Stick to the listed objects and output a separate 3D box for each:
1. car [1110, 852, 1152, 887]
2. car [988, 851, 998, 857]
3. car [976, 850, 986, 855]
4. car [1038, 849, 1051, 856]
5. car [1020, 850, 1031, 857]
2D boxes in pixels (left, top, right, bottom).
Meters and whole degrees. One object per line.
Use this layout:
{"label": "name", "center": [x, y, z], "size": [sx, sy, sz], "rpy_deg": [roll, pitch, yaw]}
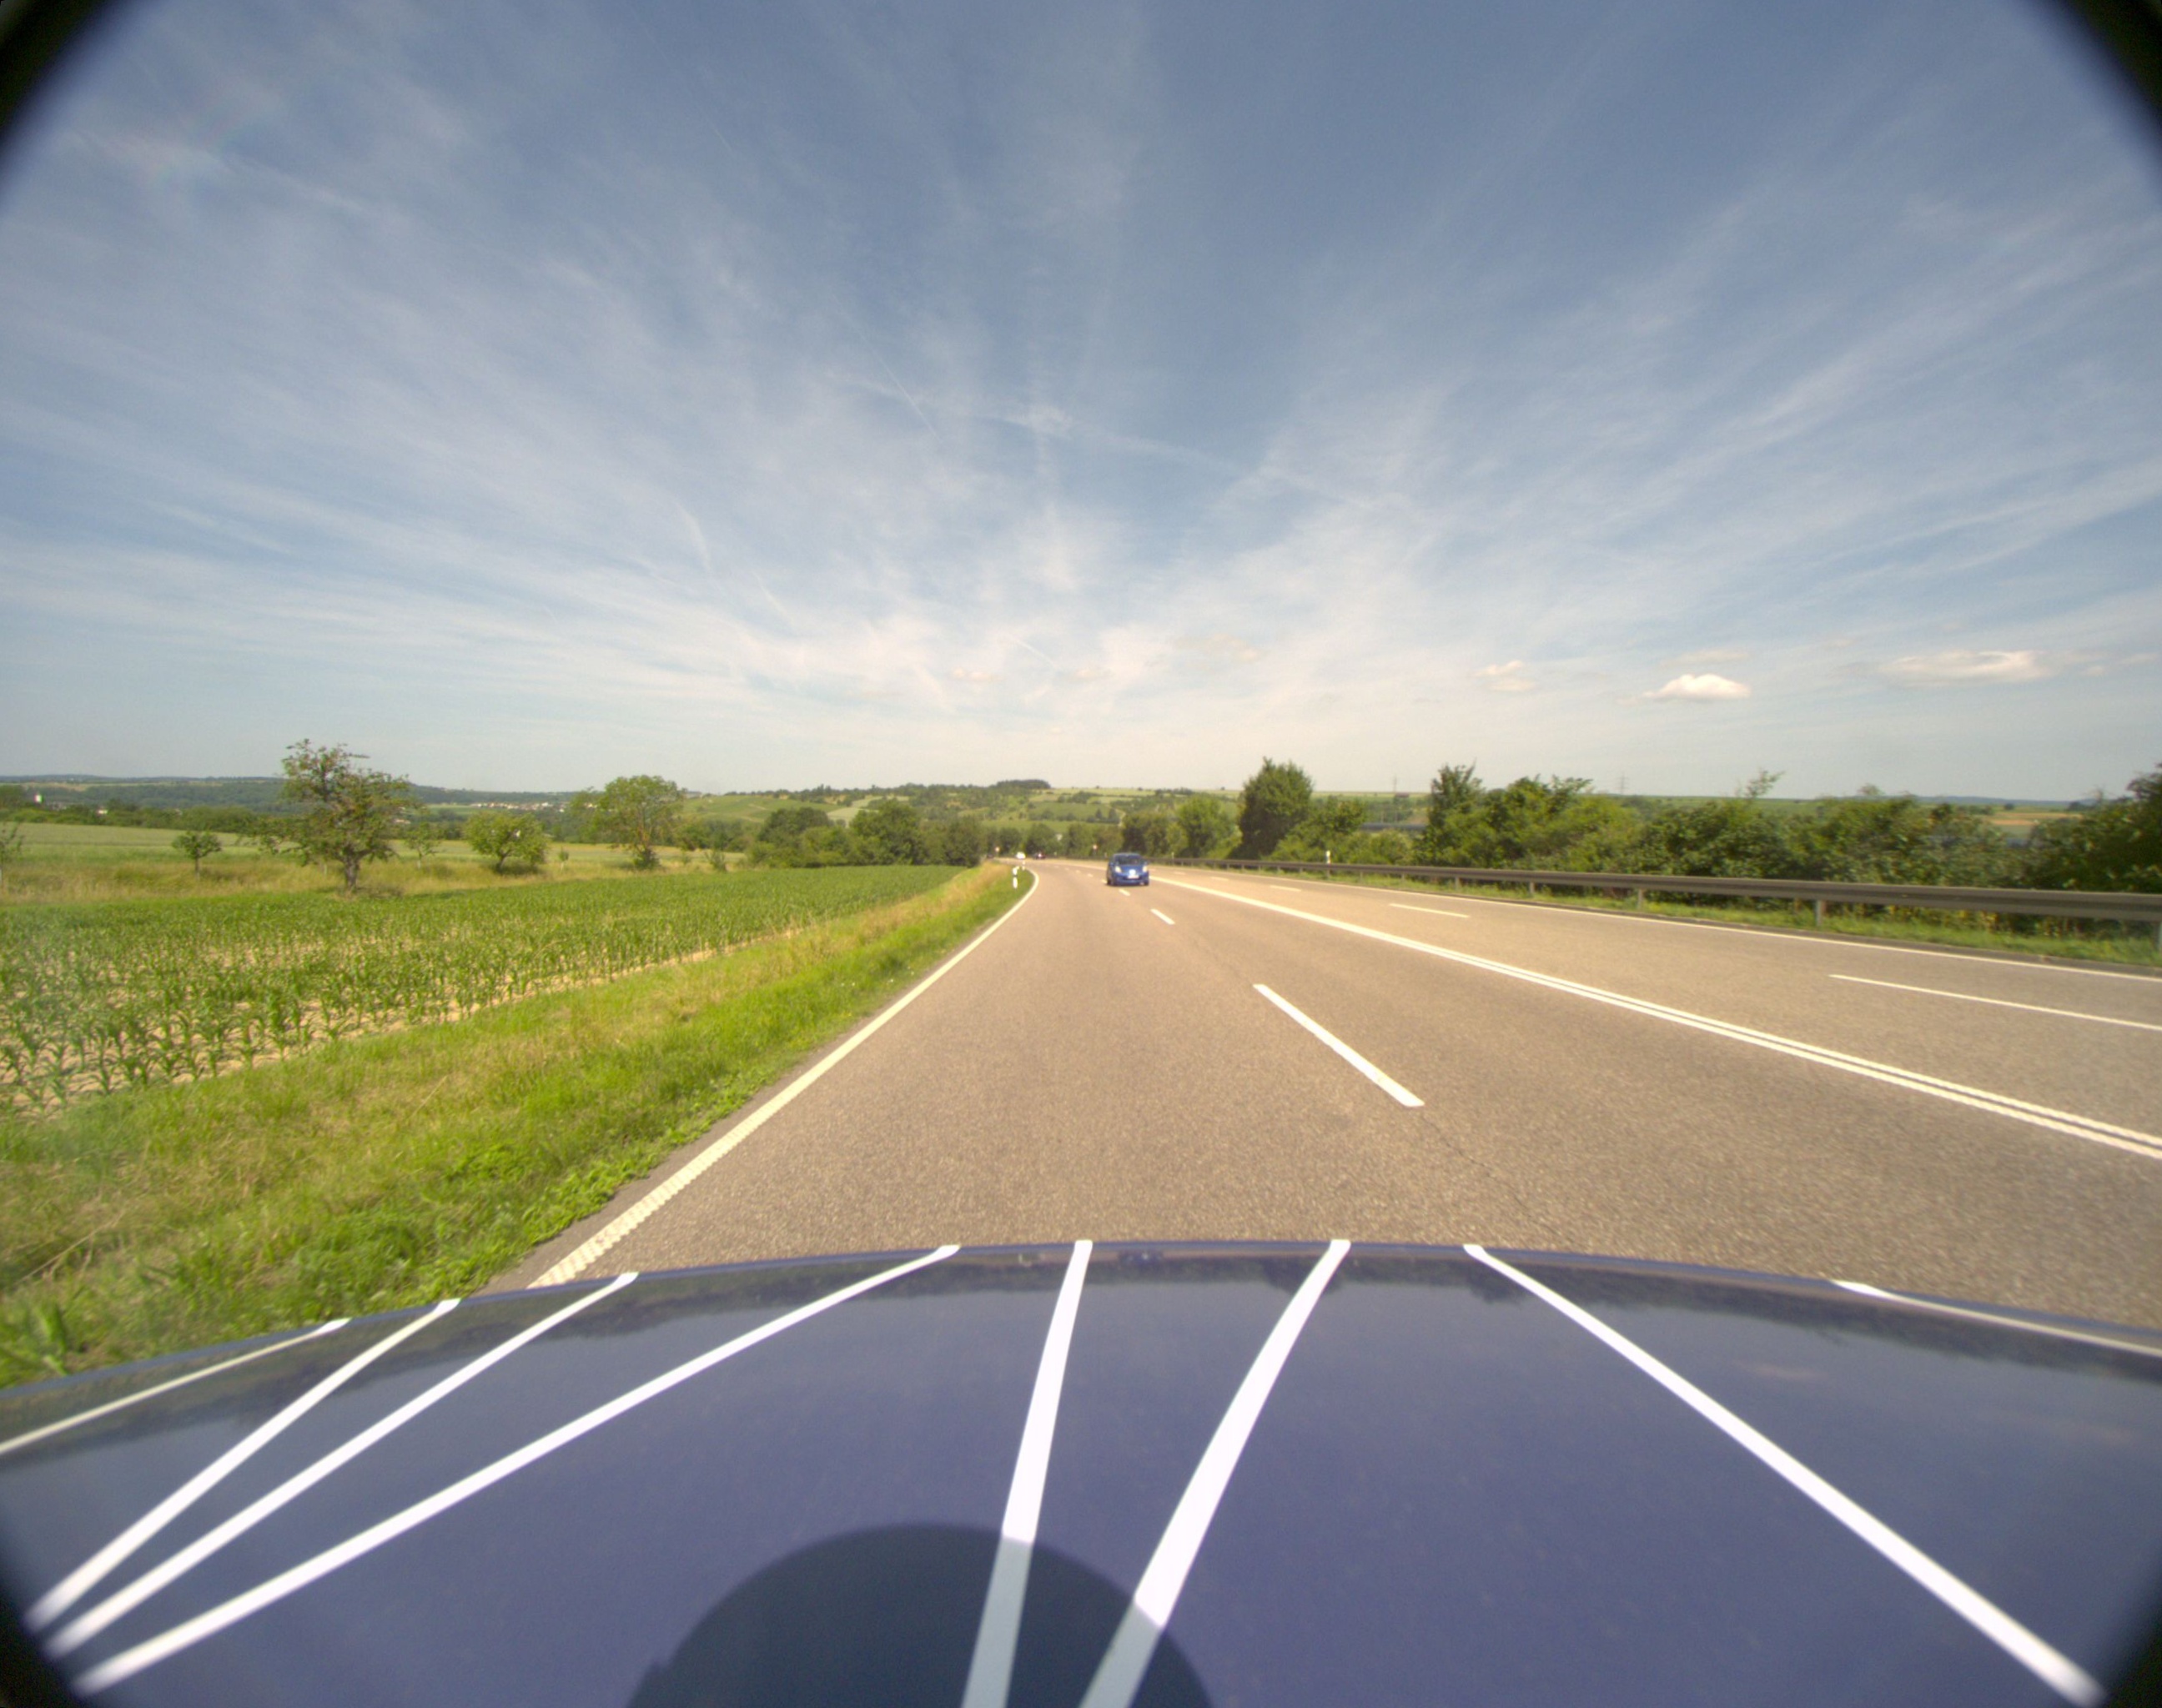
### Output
{"label": "car", "center": [2.371, 0.700, 36.577], "size": [1.636, 1.522, 3.914], "rpy_deg": [-2, 0, -1]}
{"label": "car", "center": [-23.627, -0.036, 203.720], "size": [1.725, 1.453, 4.207], "rpy_deg": [-1, 0, -22]}
{"label": "car", "center": [-29.135, -0.377, 220.676], "size": [1.821, 1.559, 4.675], "rpy_deg": [-1, 1, -22]}
{"label": "car", "center": [-7.655, -0.243, 159.342], "size": [1.843, 1.447, 4.320], "rpy_deg": [-1, 1, -14]}
{"label": "car", "center": [-12.782, -0.097, 175.765], "size": [1.664, 1.449, 3.728], "rpy_deg": [-1, 1, -18]}
